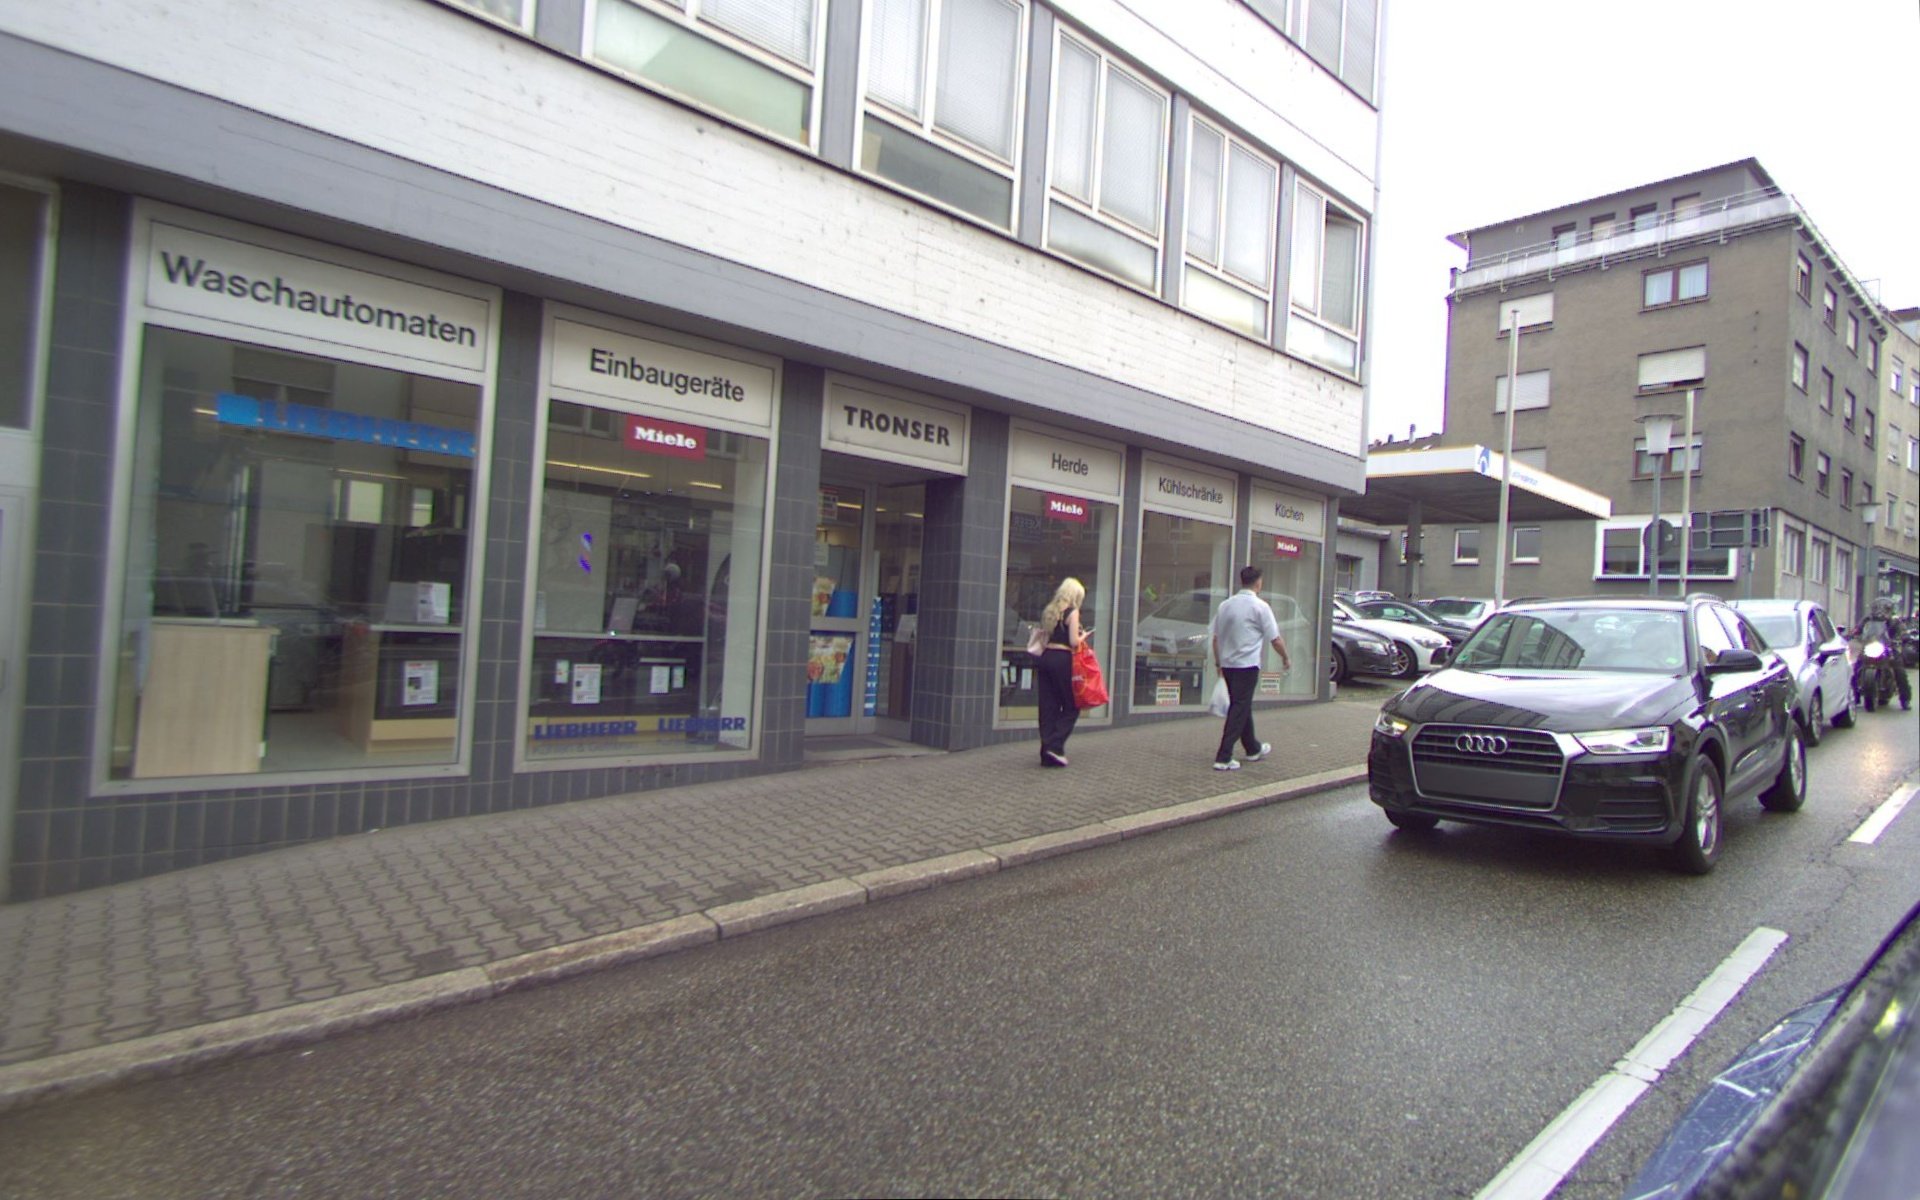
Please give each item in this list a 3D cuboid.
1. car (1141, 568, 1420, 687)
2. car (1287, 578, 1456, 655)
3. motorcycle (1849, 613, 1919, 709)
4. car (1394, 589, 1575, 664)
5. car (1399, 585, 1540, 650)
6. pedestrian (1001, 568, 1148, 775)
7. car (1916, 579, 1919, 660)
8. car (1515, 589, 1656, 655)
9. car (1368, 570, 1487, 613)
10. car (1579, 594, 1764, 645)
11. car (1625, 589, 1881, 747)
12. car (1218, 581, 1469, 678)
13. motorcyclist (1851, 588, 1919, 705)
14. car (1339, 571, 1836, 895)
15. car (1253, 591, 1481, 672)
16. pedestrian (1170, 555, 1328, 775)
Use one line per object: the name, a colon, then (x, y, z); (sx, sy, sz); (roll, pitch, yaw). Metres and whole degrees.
car: (5.193, 0.361, 16.580); (3.973, 1.468, 1.777); (6, 3, 33)
car: (9.893, 0.398, 24.207); (4.411, 1.563, 1.793); (2, 3, -40)
motorcycle: (13.356, 0.822, 14.446); (0.844, 1.241, 2.335); (-2, -2, 44)
car: (11.622, 0.528, 22.303); (4.531, 1.433, 1.793); (0, 2, -38)
car: (14.041, 0.487, 27.784); (4.339, 1.530, 1.793); (2, 3, -40)
pedestrian: (0.941, 0.539, 8.355); (0.876, 1.569, 0.766); (0, 4, -44)
car: (24.876, 0.475, 24.626); (3.697, 1.927, 1.848); (0, 1, -39)
car: (16.080, 0.523, 25.948); (4.358, 1.531, 1.792); (0, 1, -40)
car: (18.098, -0.335, 39.280); (1.761, 1.472, 3.753); (3, 0, -38)
car: (23.021, 0.617, 32.909); (1.962, 1.523, 4.534); (0, -1, -36)
car: (9.617, 0.708, 12.151); (4.182, 1.561, 1.827); (0, -2, -44)
car: (6.906, 0.454, 18.349); (3.973, 1.549, 1.742); (1, 1, 34)
motorcyclist: (13.350, 0.641, 14.446); (0.845, 1.610, 0.947); (-3, -2, 44)
car: (4.527, 0.677, 7.034); (4.129, 1.580, 1.825); (0, -2, -42)
car: (8.112, 0.556, 20.306); (3.975, 1.418, 1.650); (2, 1, 36)
pedestrian: (2.496, 0.502, 8.716); (1.102, 1.726, 0.785); (0, 4, -44)
